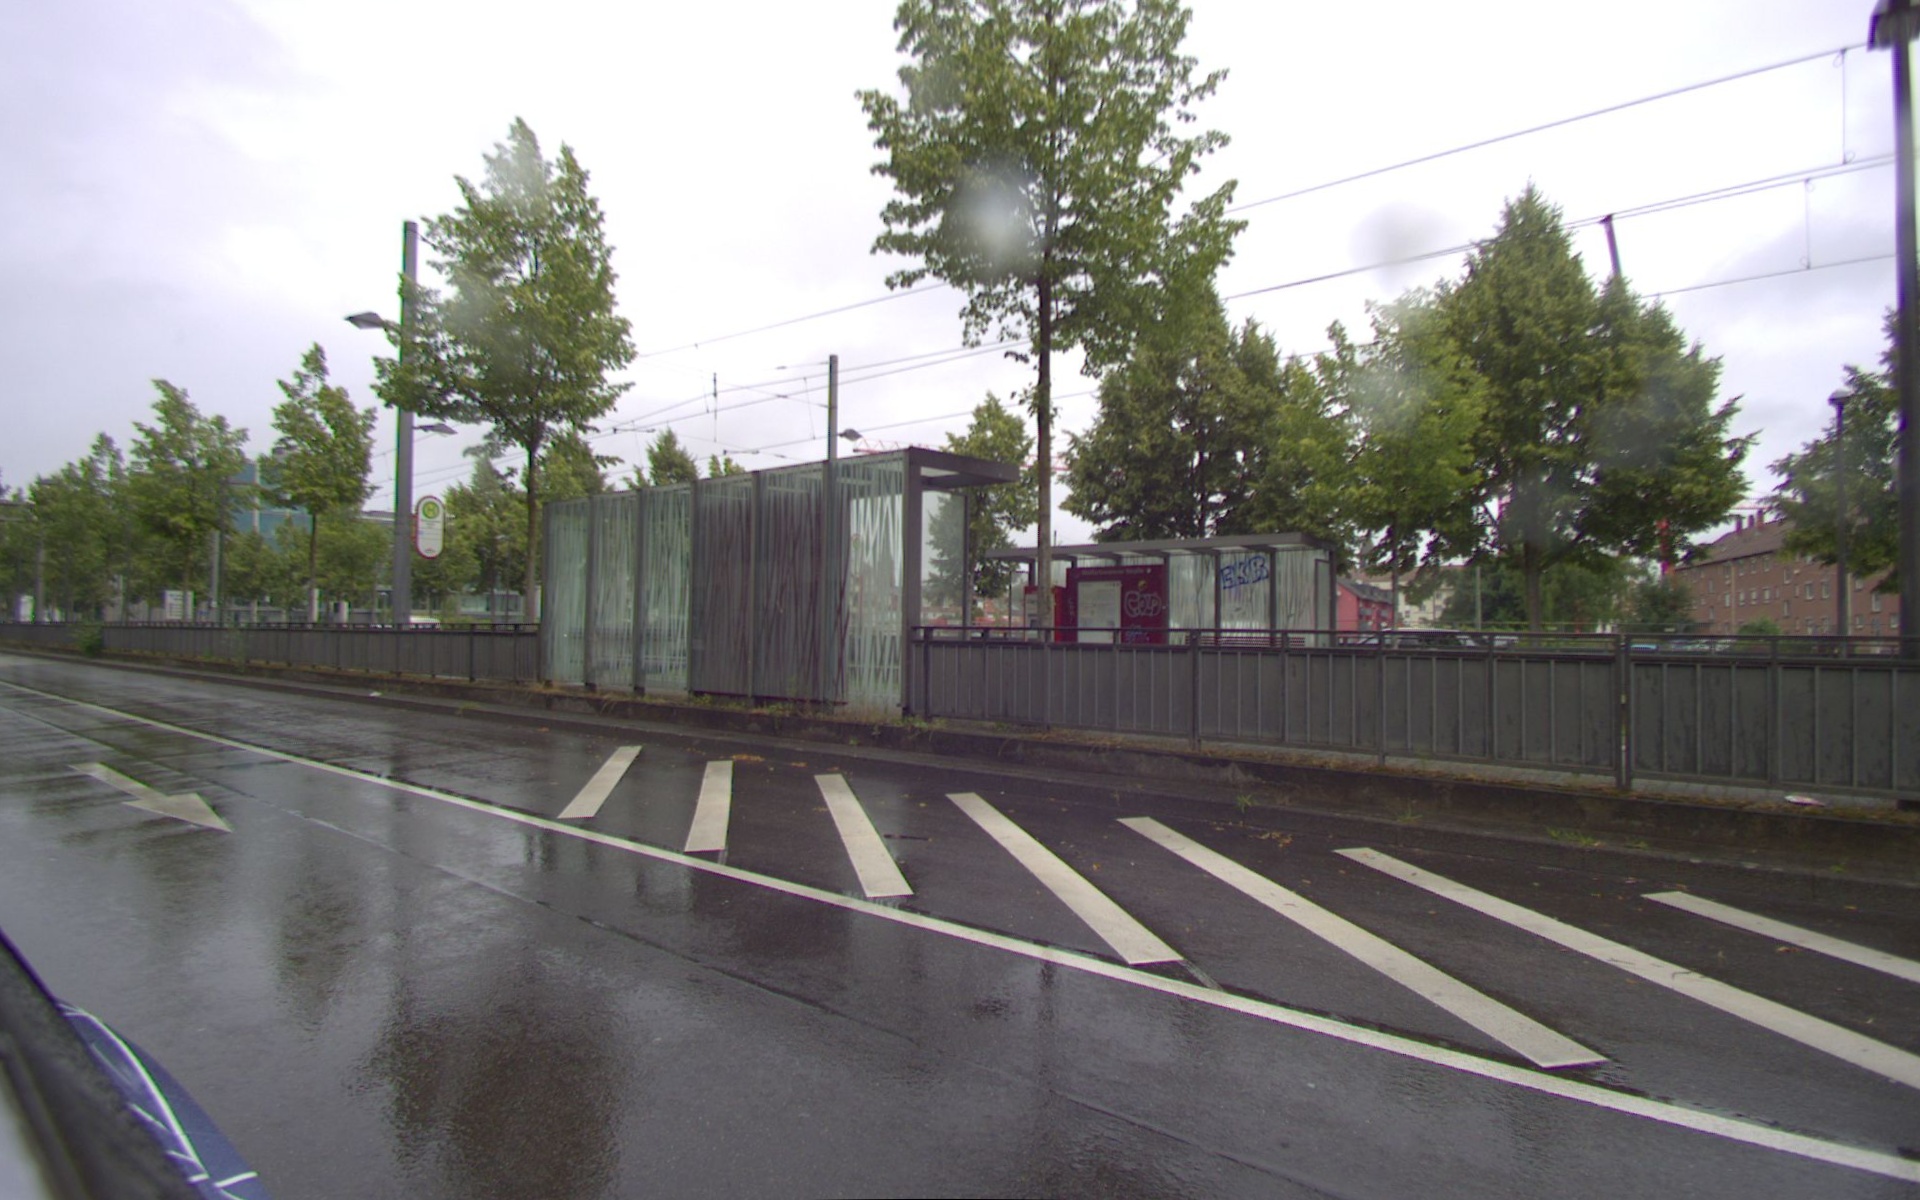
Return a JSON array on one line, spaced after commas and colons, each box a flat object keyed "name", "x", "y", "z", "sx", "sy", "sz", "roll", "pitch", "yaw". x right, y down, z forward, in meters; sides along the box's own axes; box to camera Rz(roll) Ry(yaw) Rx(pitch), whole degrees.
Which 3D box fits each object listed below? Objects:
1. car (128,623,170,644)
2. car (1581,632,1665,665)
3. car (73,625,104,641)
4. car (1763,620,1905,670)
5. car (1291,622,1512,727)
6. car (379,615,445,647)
[{"name": "car", "x": -70.884, "y": 2.907, "z": 88.409, "sx": 3.994, "sy": 1.759, "sz": 1.975, "roll": -1, "pitch": 0, "yaw": 38}, {"name": "car", "x": 42.377, "y": 3.075, "z": 64.798, "sx": 4.414, "sy": 1.891, "sz": 1.855, "roll": -1, "pitch": 0, "yaw": 34}, {"name": "car", "x": -101.673, "y": 3.881, "z": 118.065, "sx": 3.994, "sy": 1.759, "sz": 1.975, "roll": -1, "pitch": 0, "yaw": 38}, {"name": "car", "x": 46.103, "y": 2.314, "z": 53.567, "sx": 5.481, "sy": 2.471, "sz": 1.976, "roll": -1, "pitch": 0, "yaw": 35}, {"name": "car", "x": 9.364, "y": 1.509, "z": 21.624, "sx": 3.998, "sy": 2.029, "sz": 1.738, "roll": -2, "pitch": -3, "yaw": 41}, {"name": "car", "x": -32.013, "y": 1.752, "z": 59.084, "sx": 3.994, "sy": 1.759, "sz": 1.975, "roll": -1, "pitch": 0, "yaw": 38}]
